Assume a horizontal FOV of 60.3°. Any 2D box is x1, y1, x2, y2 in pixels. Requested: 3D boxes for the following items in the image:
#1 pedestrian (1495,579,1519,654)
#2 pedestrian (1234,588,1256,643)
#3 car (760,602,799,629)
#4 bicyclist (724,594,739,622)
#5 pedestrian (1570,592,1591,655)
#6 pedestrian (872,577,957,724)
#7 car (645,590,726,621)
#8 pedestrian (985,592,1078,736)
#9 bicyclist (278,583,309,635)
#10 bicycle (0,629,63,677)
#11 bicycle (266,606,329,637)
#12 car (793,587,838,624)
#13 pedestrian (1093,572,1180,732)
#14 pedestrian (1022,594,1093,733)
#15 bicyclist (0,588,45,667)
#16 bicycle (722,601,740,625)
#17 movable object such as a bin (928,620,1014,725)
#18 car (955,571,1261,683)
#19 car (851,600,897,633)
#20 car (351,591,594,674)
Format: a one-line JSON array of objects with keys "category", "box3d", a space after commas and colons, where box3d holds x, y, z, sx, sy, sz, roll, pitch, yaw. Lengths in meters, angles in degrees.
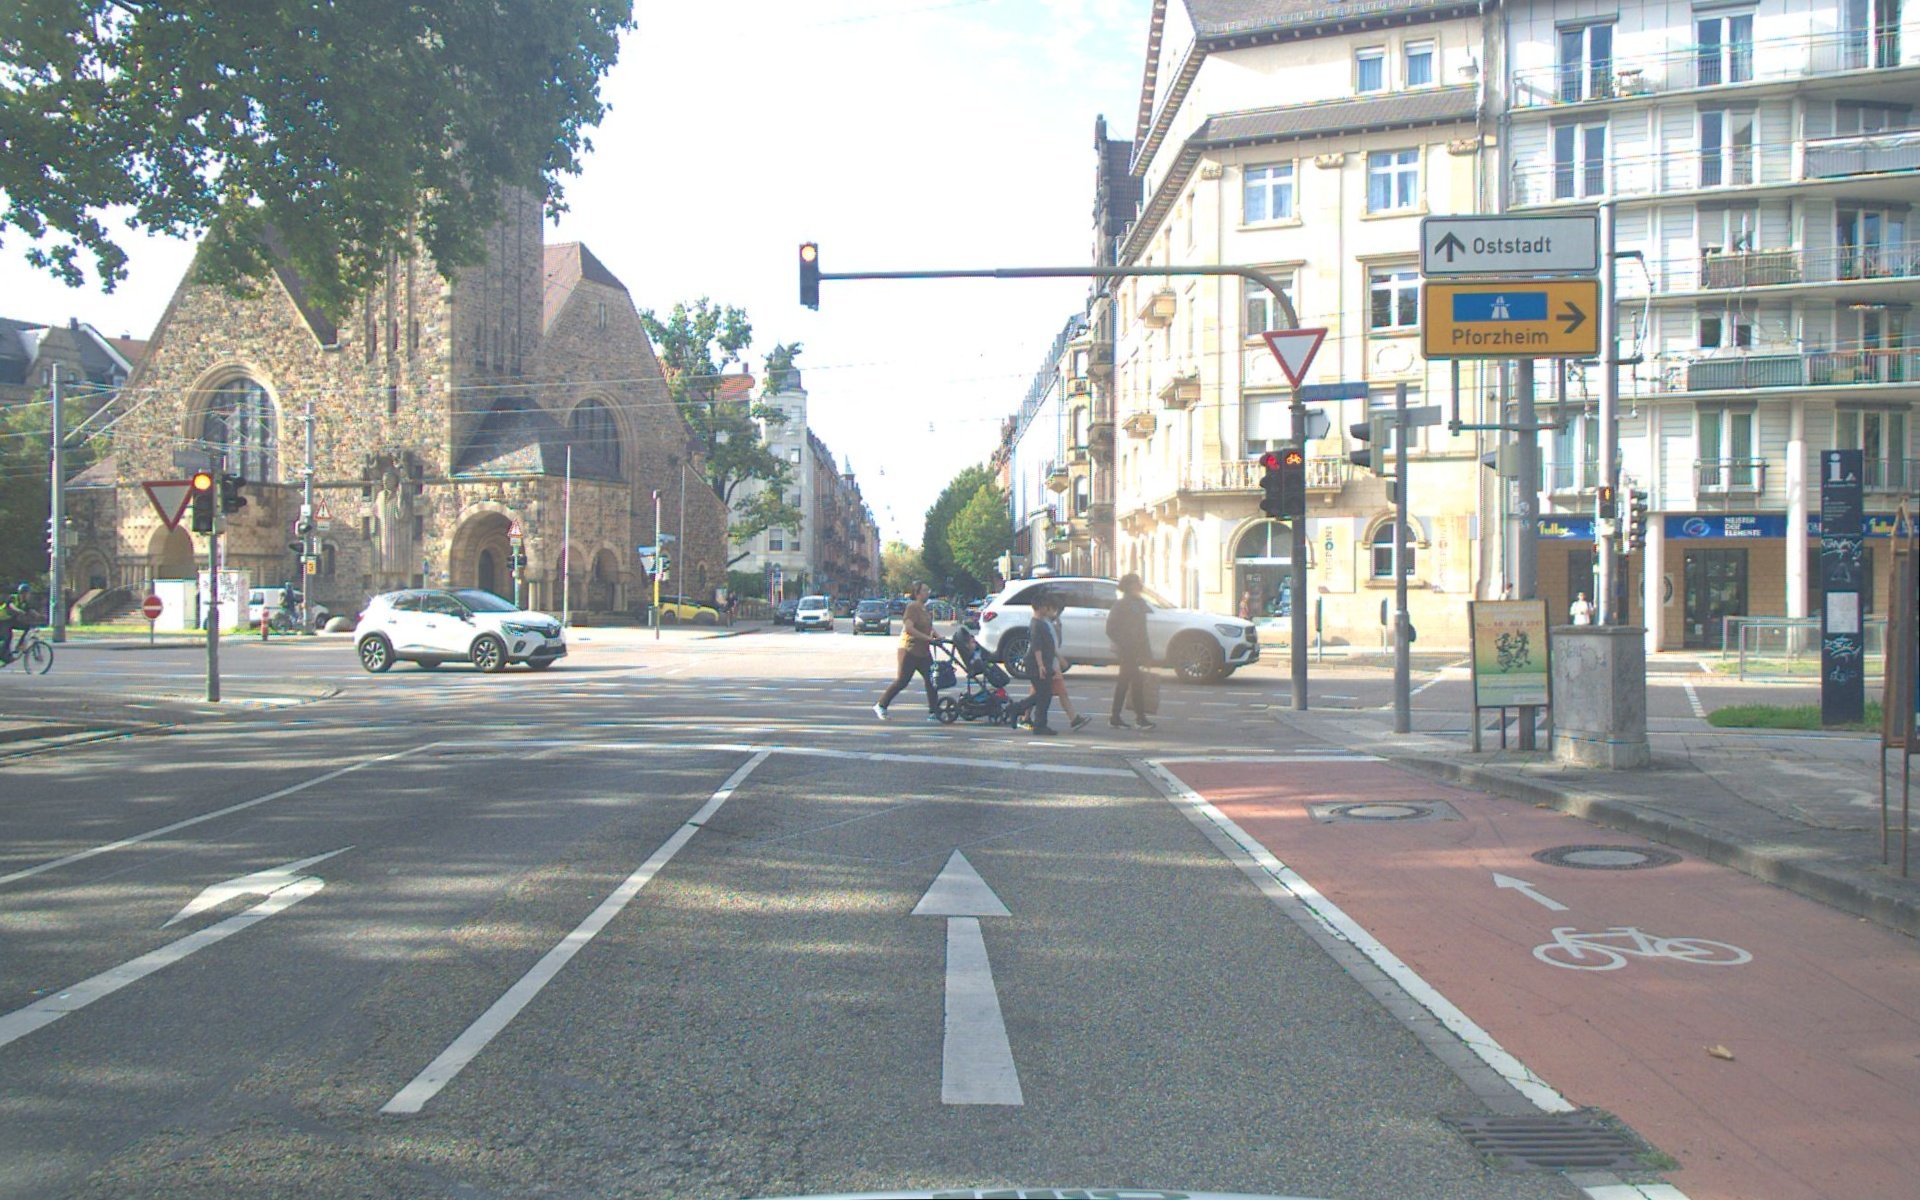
[{"category": "pedestrian", "box3d": [15.776, 0.476, 47.688, 0.515, 2.129, 0.497, 2, 0, 25]}, {"category": "pedestrian", "box3d": [8.703, 0.471, 50.505, 0.550, 1.652, 0.600, 0, 0, 20]}, {"category": "car", "box3d": [-10.763, 0.901, 99.063, 1.953, 1.523, 3.999, 0, 0, -1]}, {"category": "bicyclist", "box3d": [-11.641, 0.417, 84.149, 0.669, 1.391, 0.779, 0, 0, -1]}, {"category": "pedestrian", "box3d": [17.446, 0.655, 46.508, 0.485, 1.744, 0.527, 2, 0, 23]}, {"category": "pedestrian", "box3d": [-0.525, 0.564, 19.008, 0.798, 1.657, 0.604, 0, 0, 24]}, {"category": "car", "box3d": [-14.807, 0.293, 89.349, 3.962, 1.624, 1.842, 0, 0, -40]}, {"category": "pedestrian", "box3d": [0.746, 0.644, 17.175, 0.765, 1.457, 0.731, 0, 0, 22]}, {"category": "bicyclist", "box3d": [-22.253, 0.296, 55.217, 0.713, 1.691, 0.715, 0, 0, 41]}, {"category": "bicycle", "box3d": [-18.488, 1.027, 32.352, 1.685, 0.891, 0.706, 0, 0, 18]}, {"category": "bicycle", "box3d": [-22.164, 0.708, 55.357, 0.626, 0.997, 1.915, 0, 0, 40]}, {"category": "car", "box3d": [-7.179, 0.253, 82.450, 1.909, 1.780, 3.999, 0, 0, -1]}, {"category": "pedestrian", "box3d": [1.935, 0.548, 18.049, 0.765, 1.691, 0.778, 0, 0, 22]}, {"category": "pedestrian", "box3d": [1.049, 0.662, 17.723, 0.642, 1.457, 0.498, 0, 0, 22]}, {"category": "bicyclist", "box3d": [-18.551, 0.527, 32.375, 0.863, 1.529, 0.716, 0, 0, 17]}, {"category": "bicycle", "box3d": [-11.638, 0.669, 84.214, 0.677, 1.202, 1.918, 0, 0, -1]}, {"category": "movable object such as a bin", "box3d": [0.130, 0.807, 18.669, 0.820, 1.143, 0.575, 0, 0, 23]}, {"category": "car", "box3d": [2.424, 0.399, 26.835, 4.607, 1.712, 2.017, 0, 0, 19]}, {"category": "car", "box3d": [-3.783, 0.712, 73.399, 1.909, 1.396, 3.999, 0, 0, -1]}, {"category": "car", "box3d": [-9.362, 0.582, 31.807, 4.159, 1.505, 1.899, 0, 0, 19]}]
